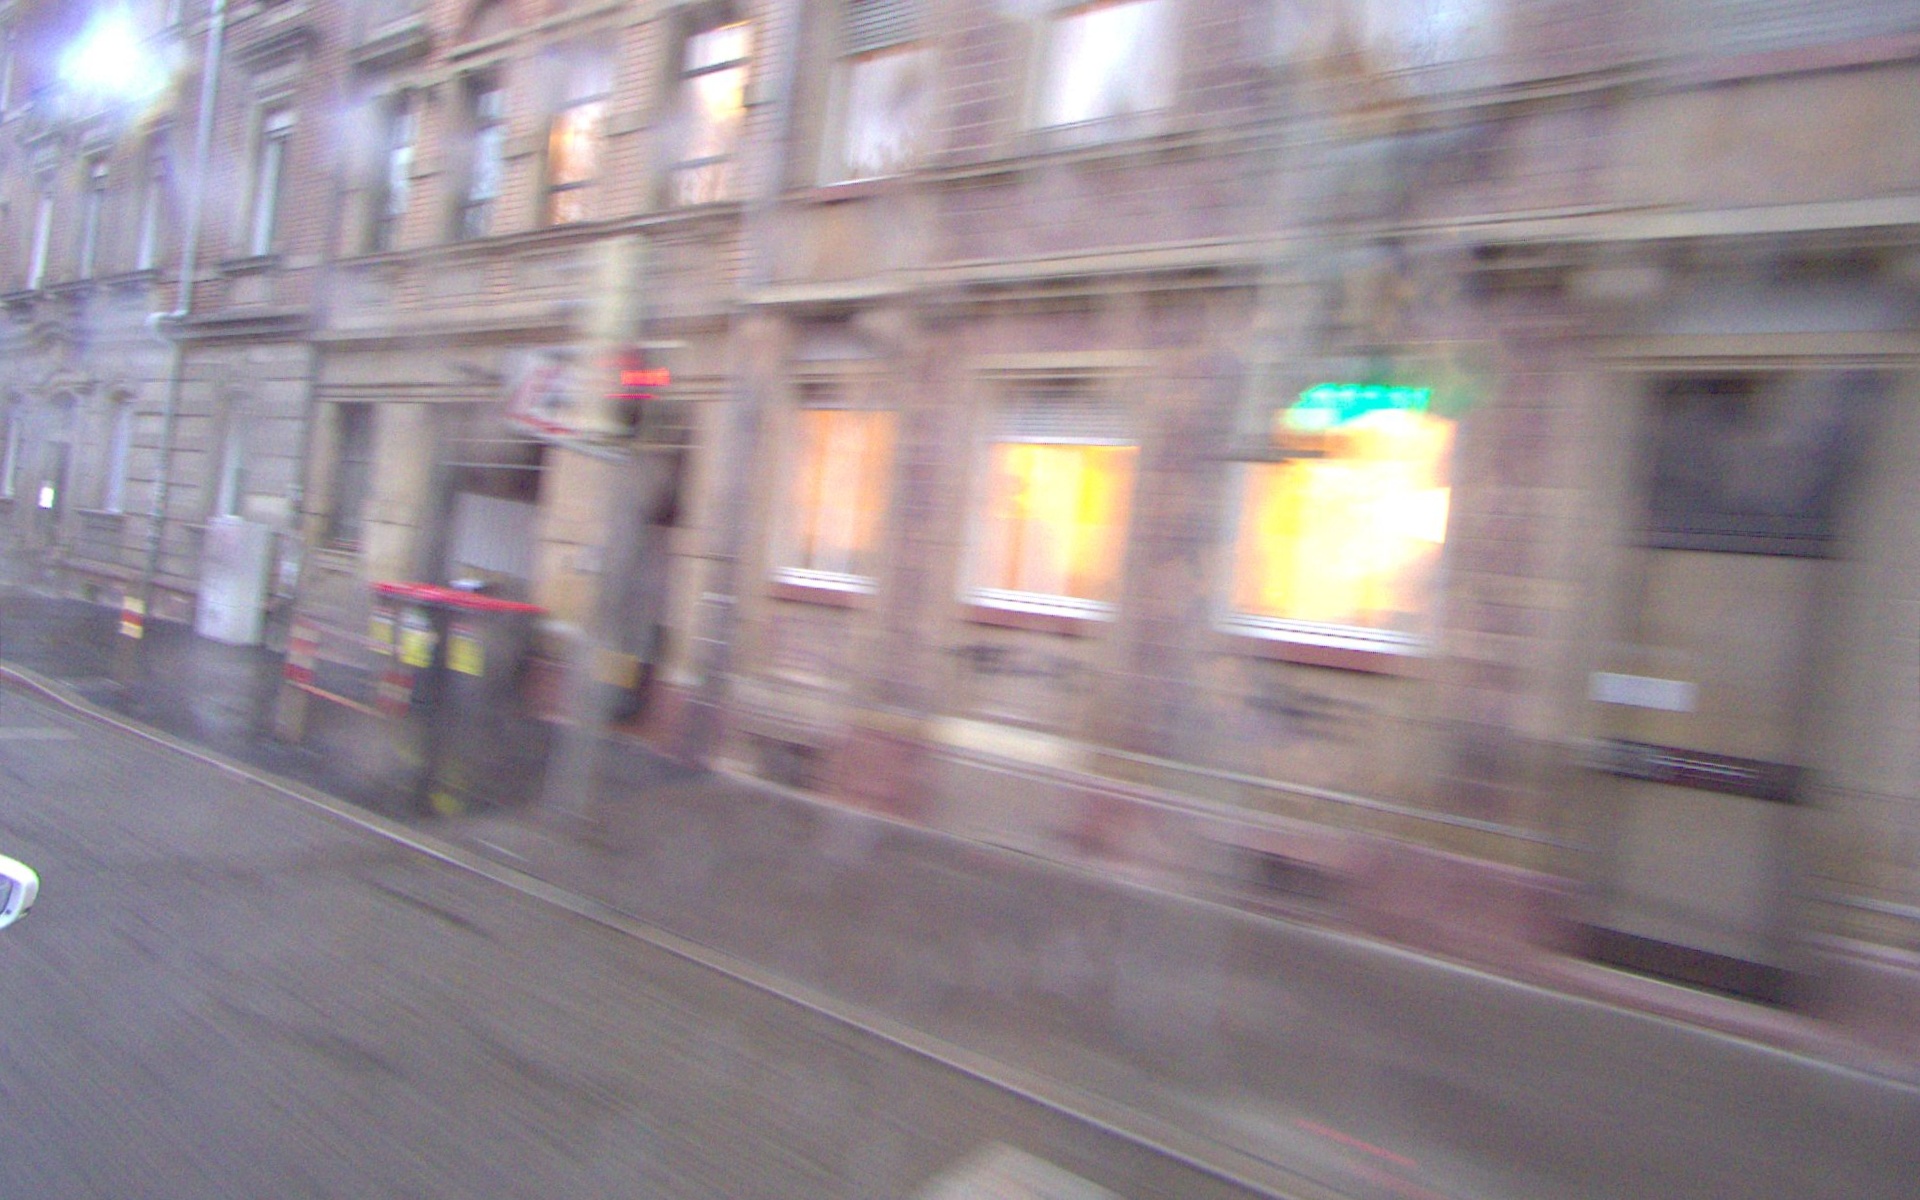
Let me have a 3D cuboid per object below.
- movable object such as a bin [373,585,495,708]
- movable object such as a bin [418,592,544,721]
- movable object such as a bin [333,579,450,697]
[{"bbox_3d":[-5.049,0.453,9.663,0.732,1.067,0.641,6,-2,32],"label":"movable object such as a bin"},{"bbox_3d":[-4.410,0.523,9.266,0.732,1.067,0.641,6,-2,32],"label":"movable object such as a bin"},{"bbox_3d":[-5.681,0.384,10.063,0.732,1.067,0.641,6,-2,32],"label":"movable object such as a bin"}]
